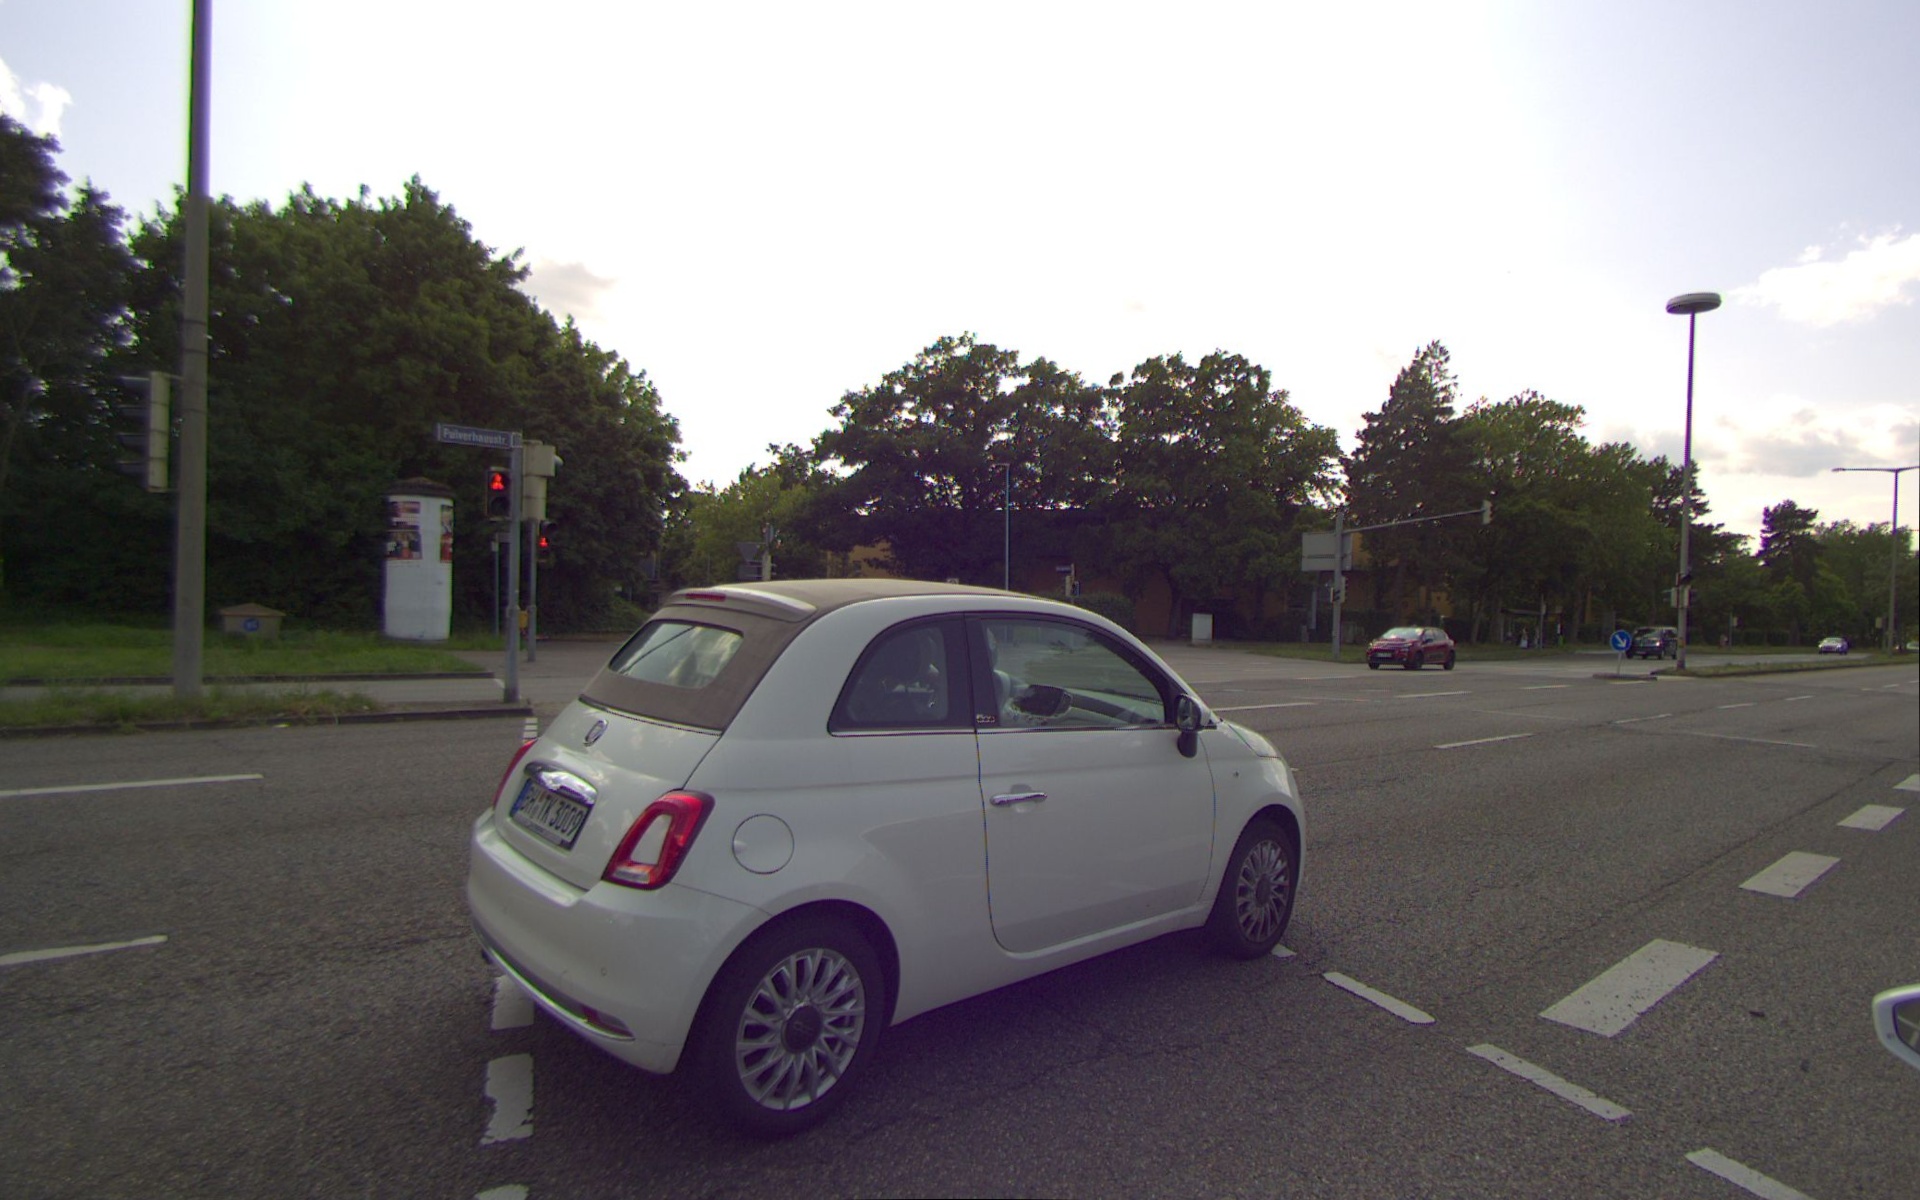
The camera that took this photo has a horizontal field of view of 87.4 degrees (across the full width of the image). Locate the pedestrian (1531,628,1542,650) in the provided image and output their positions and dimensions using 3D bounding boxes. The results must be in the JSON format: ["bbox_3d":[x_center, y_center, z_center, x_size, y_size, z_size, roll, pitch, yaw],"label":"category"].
[{"bbox_3d":[40.387,2.708,70.385,0.562,1.515,0.420,4,1,35],"label":"pedestrian"}]

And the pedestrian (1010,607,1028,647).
[{"bbox_3d":[2.658,1.208,45.443,0.678,1.765,0.705,1,-1,10],"label":"pedestrian"}]

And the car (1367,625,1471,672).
[{"bbox_3d":[15.955,1.671,34.825,4.425,1.484,1.755,3,-1,-43],"label":"car"}]

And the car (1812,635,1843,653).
[{"bbox_3d":[88.593,4.502,102.528,4.422,1.728,1.843,3,-1,-42],"label":"car"}]

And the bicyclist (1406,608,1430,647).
[{"bbox_3d":[23.970,1.428,52.625,0.818,2.040,0.750,2,-1,-18],"label":"bicyclist"}]

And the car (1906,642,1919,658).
[{"bbox_3d":[110.518,5.769,115.728,4.424,1.728,1.843,3,-1,-43],"label":"car"}]

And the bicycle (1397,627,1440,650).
[{"bbox_3d":[24.043,2.020,52.650,2.081,1.134,0.754,2,-1,-19],"label":"bicycle"}]

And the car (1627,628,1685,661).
[{"bbox_3d":[42.522,2.684,61.312,4.778,1.881,1.750,2,-1,-41],"label":"car"}]

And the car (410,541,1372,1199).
[{"bbox_3d":[0.009,0.675,3.956,3.514,1.516,1.555,3,0,-42],"label":"car"}]

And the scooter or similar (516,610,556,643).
[{"bbox_3d":[-12.741,0.802,30.211,1.025,0.954,0.294,3,1,-34],"label":"scooter or similar"}]

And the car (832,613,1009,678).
[{"bbox_3d":[-0.864,1.057,23.673,4.050,1.391,1.580,2,-1,-41],"label":"car"}]

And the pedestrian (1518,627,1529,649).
[{"bbox_3d":[39.407,2.633,70.255,0.562,1.515,0.420,4,1,35],"label":"pedestrian"}]
